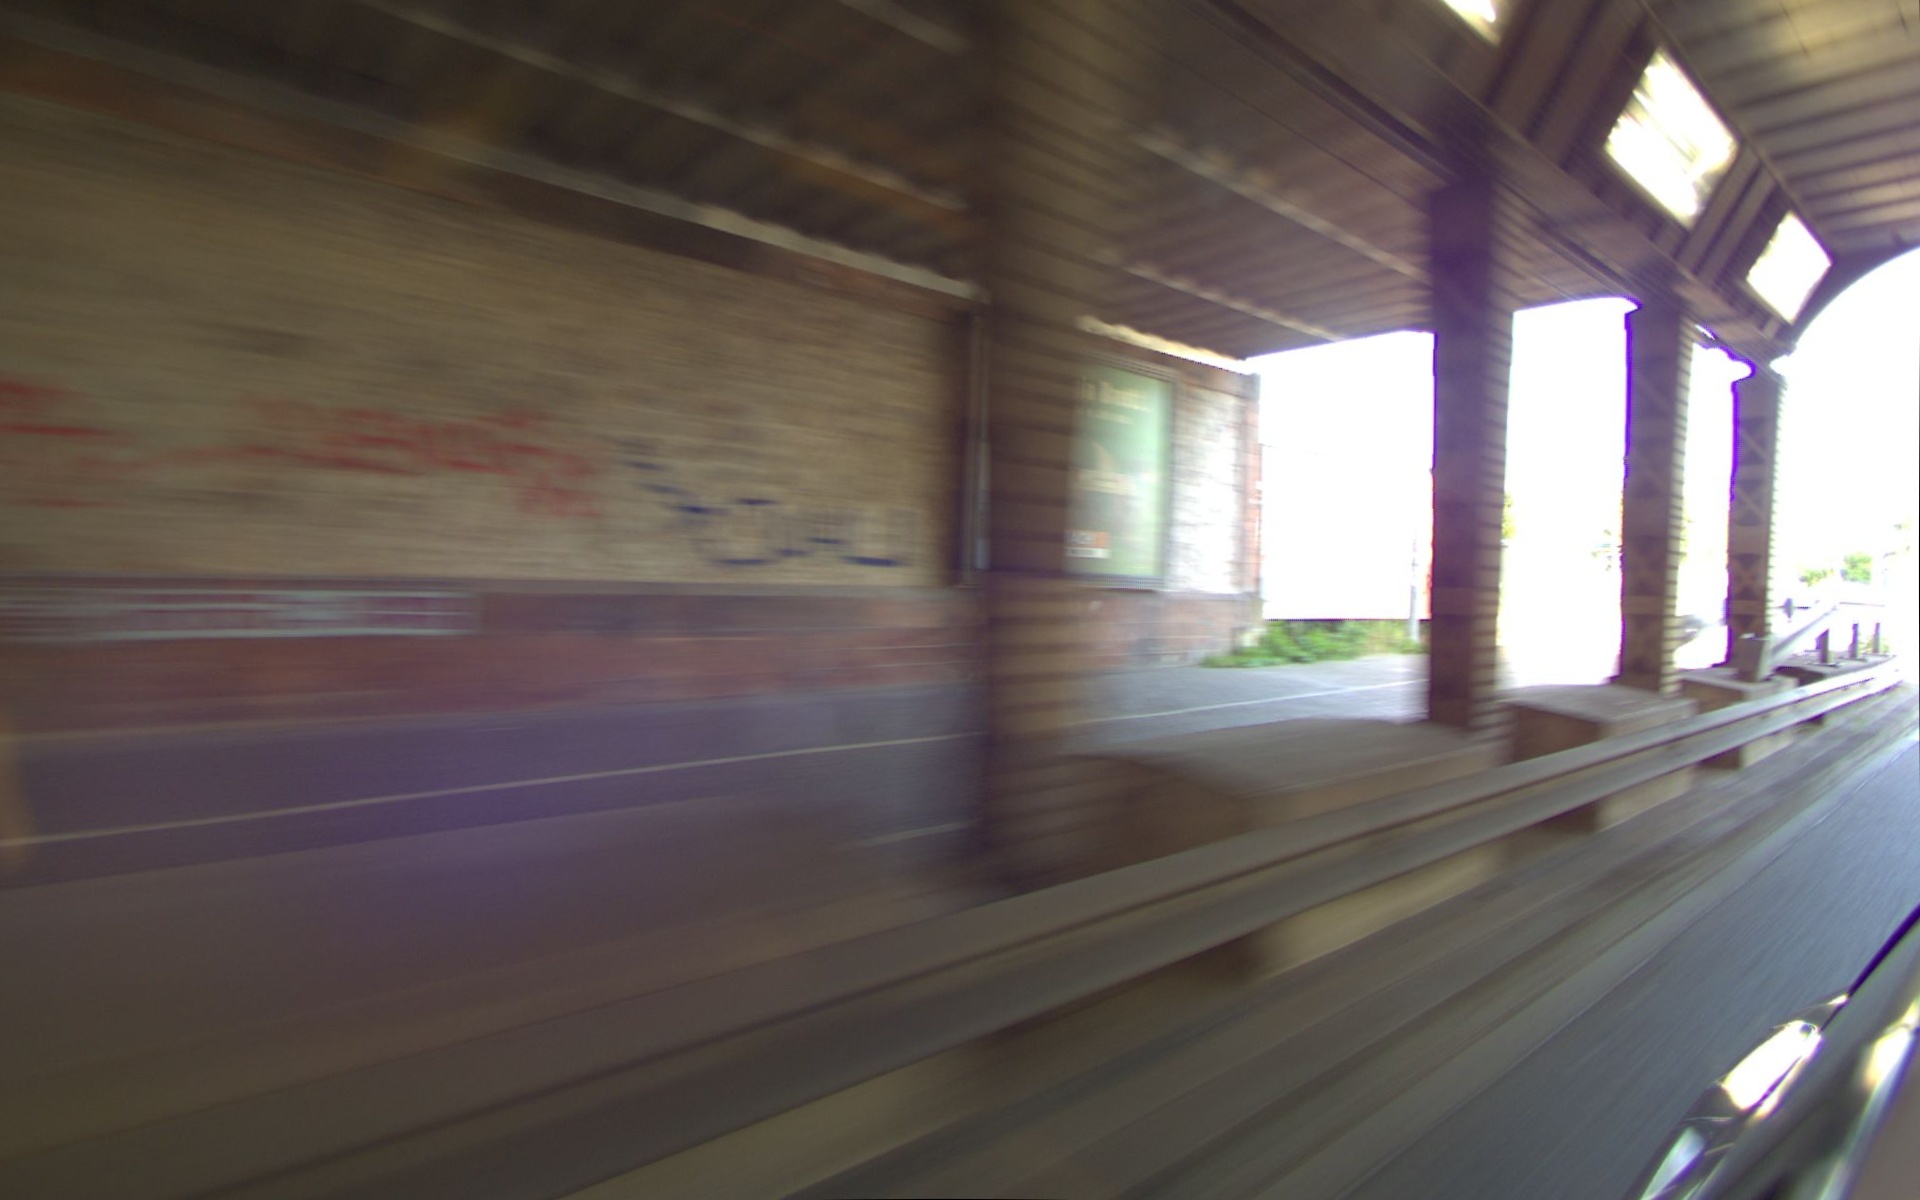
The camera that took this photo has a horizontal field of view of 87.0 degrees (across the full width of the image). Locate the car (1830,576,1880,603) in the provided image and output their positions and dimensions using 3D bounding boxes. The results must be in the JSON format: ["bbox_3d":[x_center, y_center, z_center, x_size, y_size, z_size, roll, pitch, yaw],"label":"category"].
[{"bbox_3d":[53.582,-0.652,60.569,4.203,1.530,1.887,-1,2,-44],"label":"car"}]

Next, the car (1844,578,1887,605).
[{"bbox_3d":[64.590,-0.647,72.177,4.133,1.831,1.982,-1,2,-44],"label":"car"}]

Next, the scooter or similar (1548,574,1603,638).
[{"bbox_3d":[12.175,0.100,20.015,1.268,1.212,0.538,-1,2,-40],"label":"scooter or similar"}]
